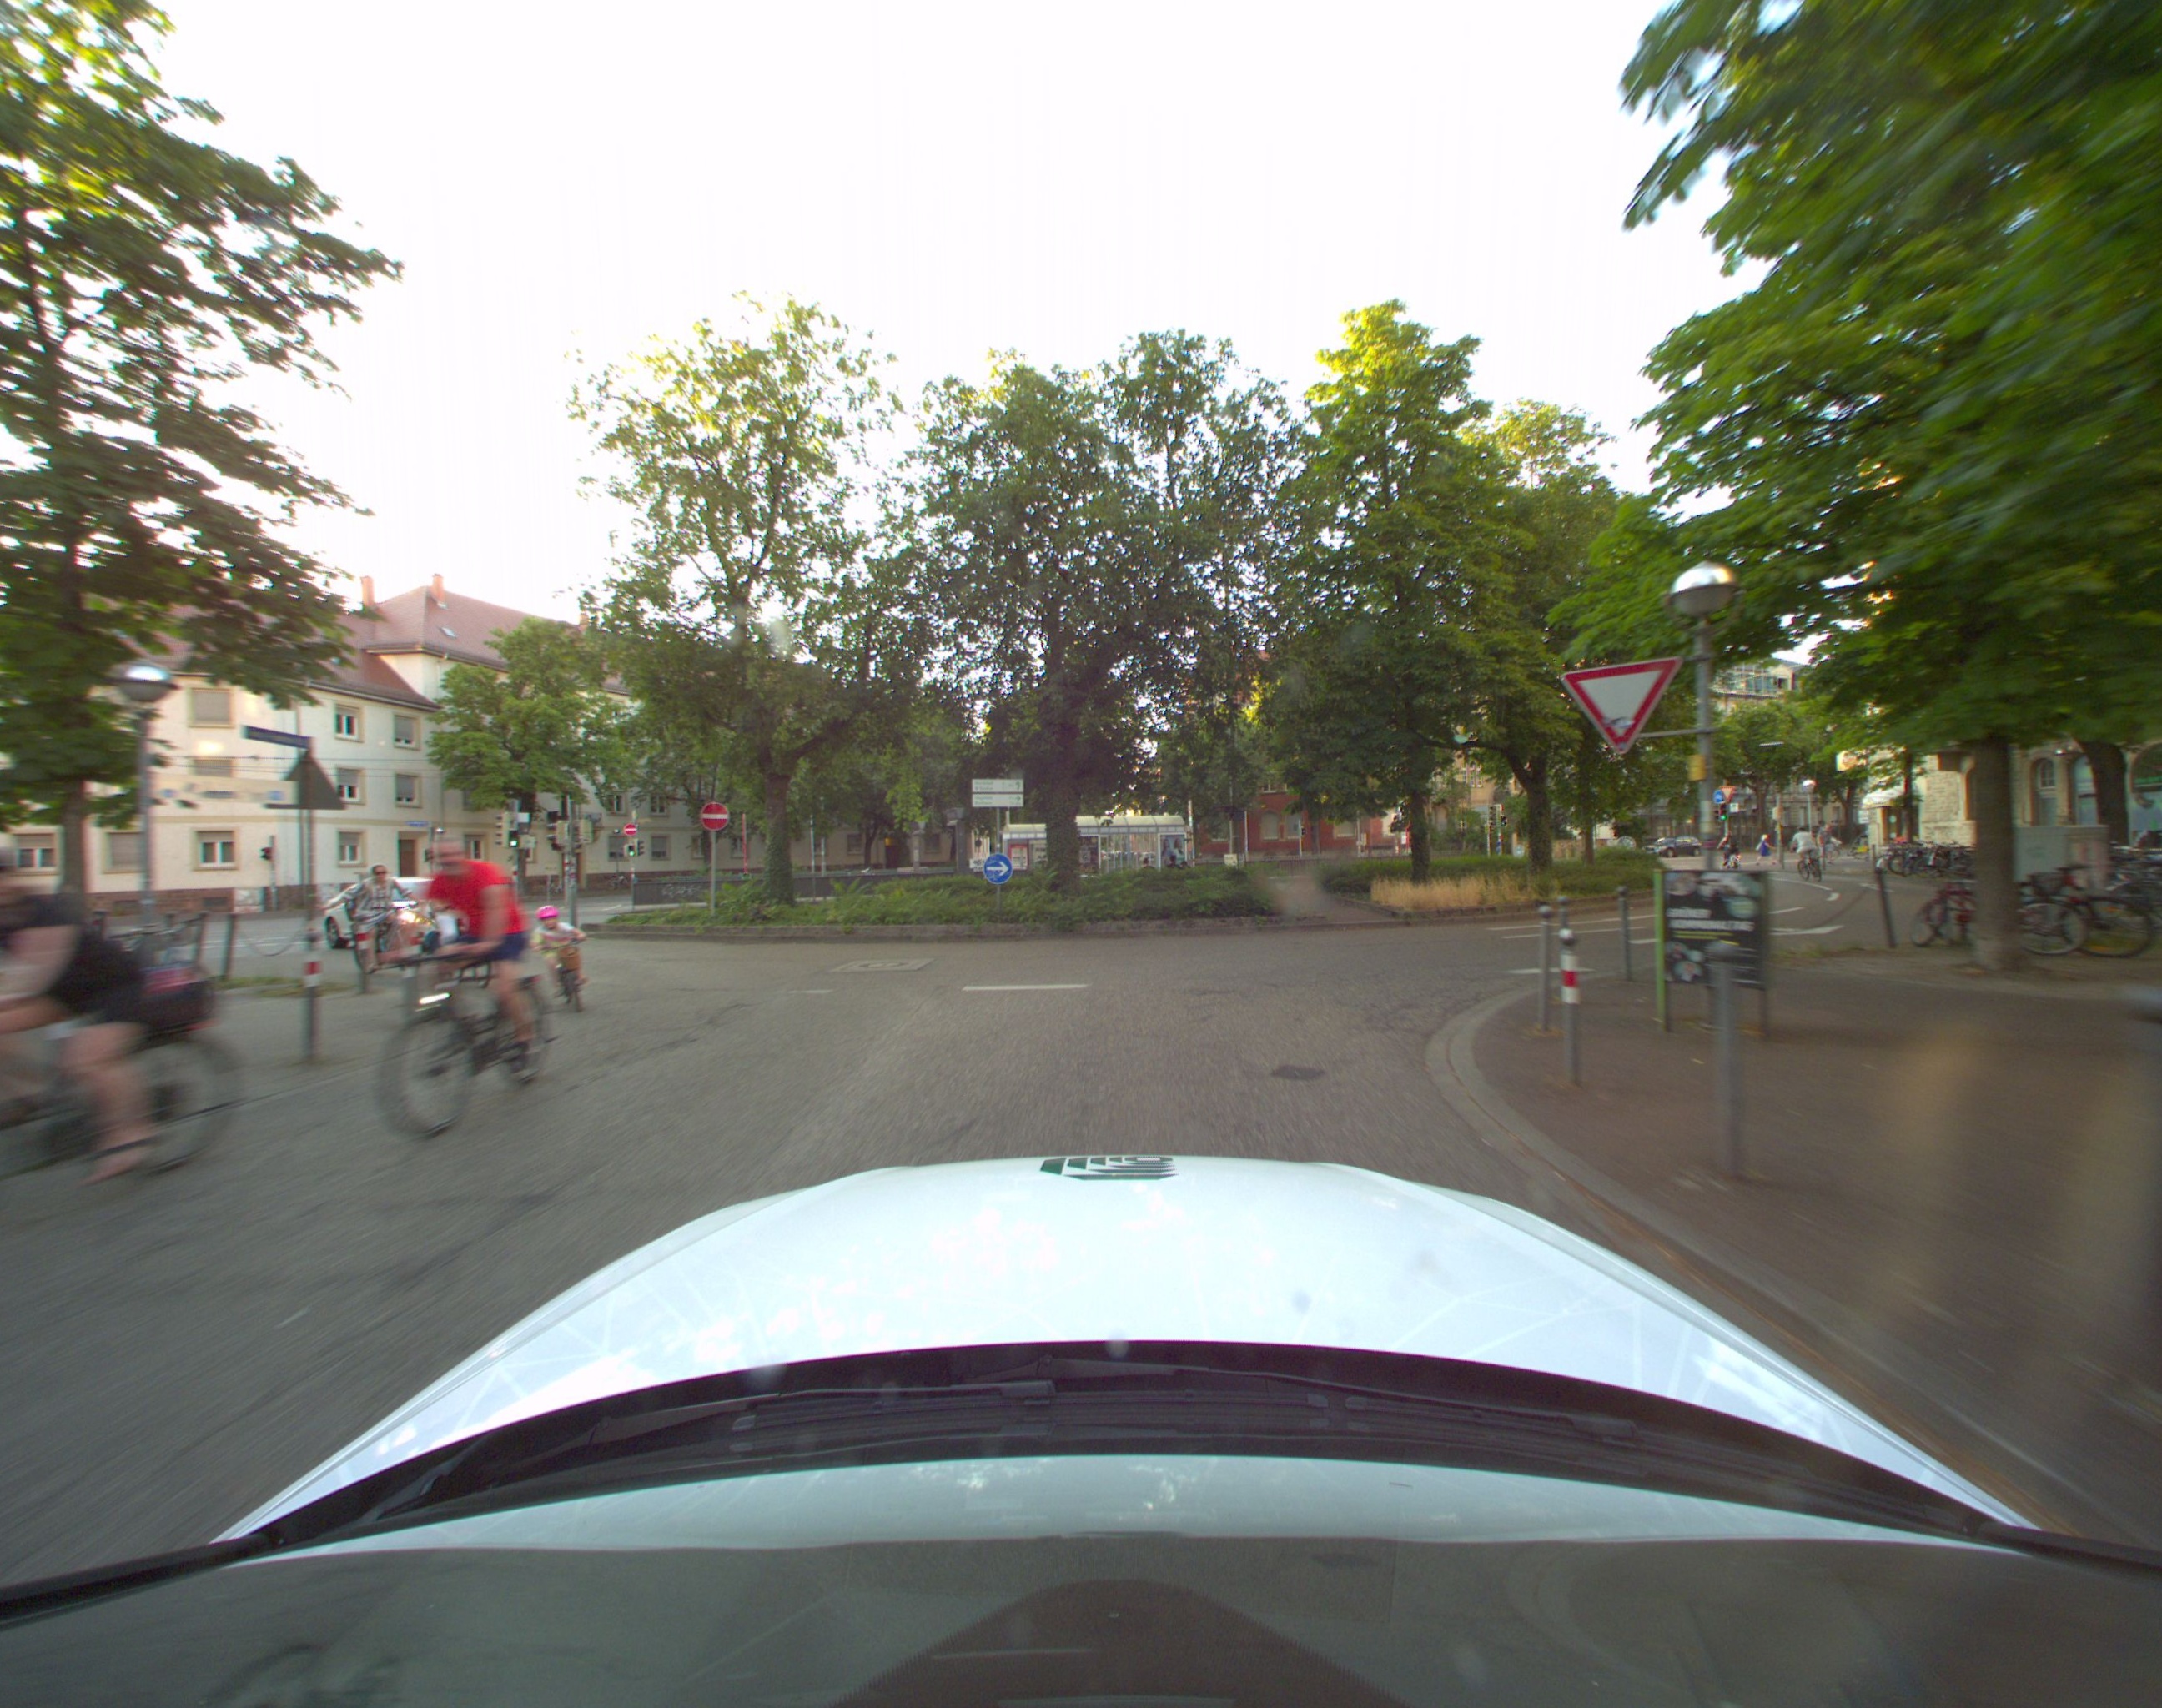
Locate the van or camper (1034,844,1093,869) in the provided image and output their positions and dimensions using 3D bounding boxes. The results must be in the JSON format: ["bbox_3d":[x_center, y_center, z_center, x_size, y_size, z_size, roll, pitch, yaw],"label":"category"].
[{"bbox_3d":[-2.222,0.277,102.964,7.349,3.083,2.670,0,0,-4],"label":"van or camper"}]

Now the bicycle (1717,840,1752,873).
[{"bbox_3d":[25.868,0.086,32.261,0.691,1.236,1.874,-2,0,28],"label":"bicycle"}]

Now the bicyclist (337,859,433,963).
[{"bbox_3d":[-10.738,0.859,12.585,0.868,1.545,0.679,-2,0,4],"label":"bicyclist"}]

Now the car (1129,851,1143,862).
[{"bbox_3d":[8.650,0.397,128.100,1.987,1.703,4.719,0,0,0],"label":"car"}]

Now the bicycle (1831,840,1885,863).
[{"bbox_3d":[39.697,-0.120,41.623,1.854,1.130,0.736,-2,0,34],"label":"bicycle"}]

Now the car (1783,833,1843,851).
[{"bbox_3d":[63.630,-1.065,70.782,4.635,1.426,1.996,-2,0,-22],"label":"car"}]

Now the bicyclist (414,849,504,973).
[{"bbox_3d":[-8.382,0.736,10.969,0.864,1.583,0.731,-2,0,38],"label":"bicyclist"}]

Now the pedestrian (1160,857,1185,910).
[{"bbox_3d":[2.557,0.817,22.898,0.614,1.431,0.656,-1,0,2],"label":"pedestrian"}]

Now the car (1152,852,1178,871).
[{"bbox_3d":[7.840,0.692,76.161,1.987,1.703,4.719,0,0,0],"label":"car"}]

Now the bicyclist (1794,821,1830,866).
[{"bbox_3d":[23.789,-0.333,26.520,0.691,1.411,0.870,-2,0,31],"label":"bicyclist"}]

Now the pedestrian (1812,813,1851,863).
[{"bbox_3d":[32.968,-0.703,35.787,1.001,2.085,1.067,-3,0,32],"label":"pedestrian"}]

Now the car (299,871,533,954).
[{"bbox_3d":[-14.219,1.185,17.390,4.780,1.517,2.012,-2,0,26],"label":"car"}]

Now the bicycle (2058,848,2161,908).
[{"bbox_3d":[19.464,0.437,14.955,0.555,1.065,1.898,-1,0,-42],"label":"bicycle"}]

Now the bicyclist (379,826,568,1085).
[{"bbox_3d":[-3.918,0.601,5.327,0.652,1.526,0.863,-2,0,-12],"label":"bicyclist"}]

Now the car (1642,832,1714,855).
[{"bbox_3d":[43.343,-0.772,59.116,4.416,1.510,1.939,-2,0,-17],"label":"car"}]

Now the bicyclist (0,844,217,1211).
[{"bbox_3d":[-4.844,0.729,3.782,0.712,1.526,0.865,-2,0,-5],"label":"bicyclist"}]

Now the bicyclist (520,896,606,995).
[{"bbox_3d":[-5.692,0.975,8.950,0.652,0.977,0.721,-2,0,-44],"label":"bicyclist"}]

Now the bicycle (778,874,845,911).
[{"bbox_3d":[-9.205,1.301,27.877,2.117,1.151,0.681,-2,0,-23],"label":"bicycle"}]

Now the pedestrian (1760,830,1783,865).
[{"bbox_3d":[35.778,-0.322,42.215,0.859,1.794,0.930,-2,0,41],"label":"pedestrian"}]

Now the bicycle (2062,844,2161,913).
[{"bbox_3d":[18.312,0.412,14.032,0.450,1.168,1.775,-1,0,-40],"label":"bicycle"}]

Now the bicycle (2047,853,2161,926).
[{"bbox_3d":[15.931,0.528,12.357,0.421,1.076,1.590,-1,0,-36],"label":"bicycle"}]

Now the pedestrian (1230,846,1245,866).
[{"bbox_3d":[12.153,0.136,63.266,0.856,1.526,0.720,-2,0,39],"label":"pedestrian"}]

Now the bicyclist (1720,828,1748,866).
[{"bbox_3d":[25.856,-0.262,32.256,0.691,1.461,0.788,-2,0,28],"label":"bicyclist"}]

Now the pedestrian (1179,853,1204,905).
[{"bbox_3d":[3.135,0.710,23.165,0.614,1.431,0.656,-1,0,2],"label":"pedestrian"}]

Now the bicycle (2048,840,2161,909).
[{"bbox_3d":[18.821,0.358,14.570,0.555,1.200,1.898,-1,0,-42],"label":"bicycle"}]

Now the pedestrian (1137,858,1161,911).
[{"bbox_3d":[1.903,0.839,22.813,0.614,1.431,0.656,-1,0,2],"label":"pedestrian"}]

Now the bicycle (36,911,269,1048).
[{"bbox_3d":[-9.156,1.173,8.149,0.559,1.083,1.791,0,0,-12],"label":"bicycle"}]

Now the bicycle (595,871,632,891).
[{"bbox_3d":[-29.577,1.700,51.560,0.677,1.151,1.932,-2,0,35],"label":"bicycle"}]

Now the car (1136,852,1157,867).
[{"bbox_3d":[7.436,0.601,92.497,1.987,1.703,4.719,0,0,0],"label":"car"}]

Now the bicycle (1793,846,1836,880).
[{"bbox_3d":[23.729,0.269,26.385,0.691,1.055,1.804,-2,0,31],"label":"bicycle"}]

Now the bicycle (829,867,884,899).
[{"bbox_3d":[-8.157,1.049,29.620,1.856,1.051,0.542,-2,0,-21],"label":"bicycle"}]
